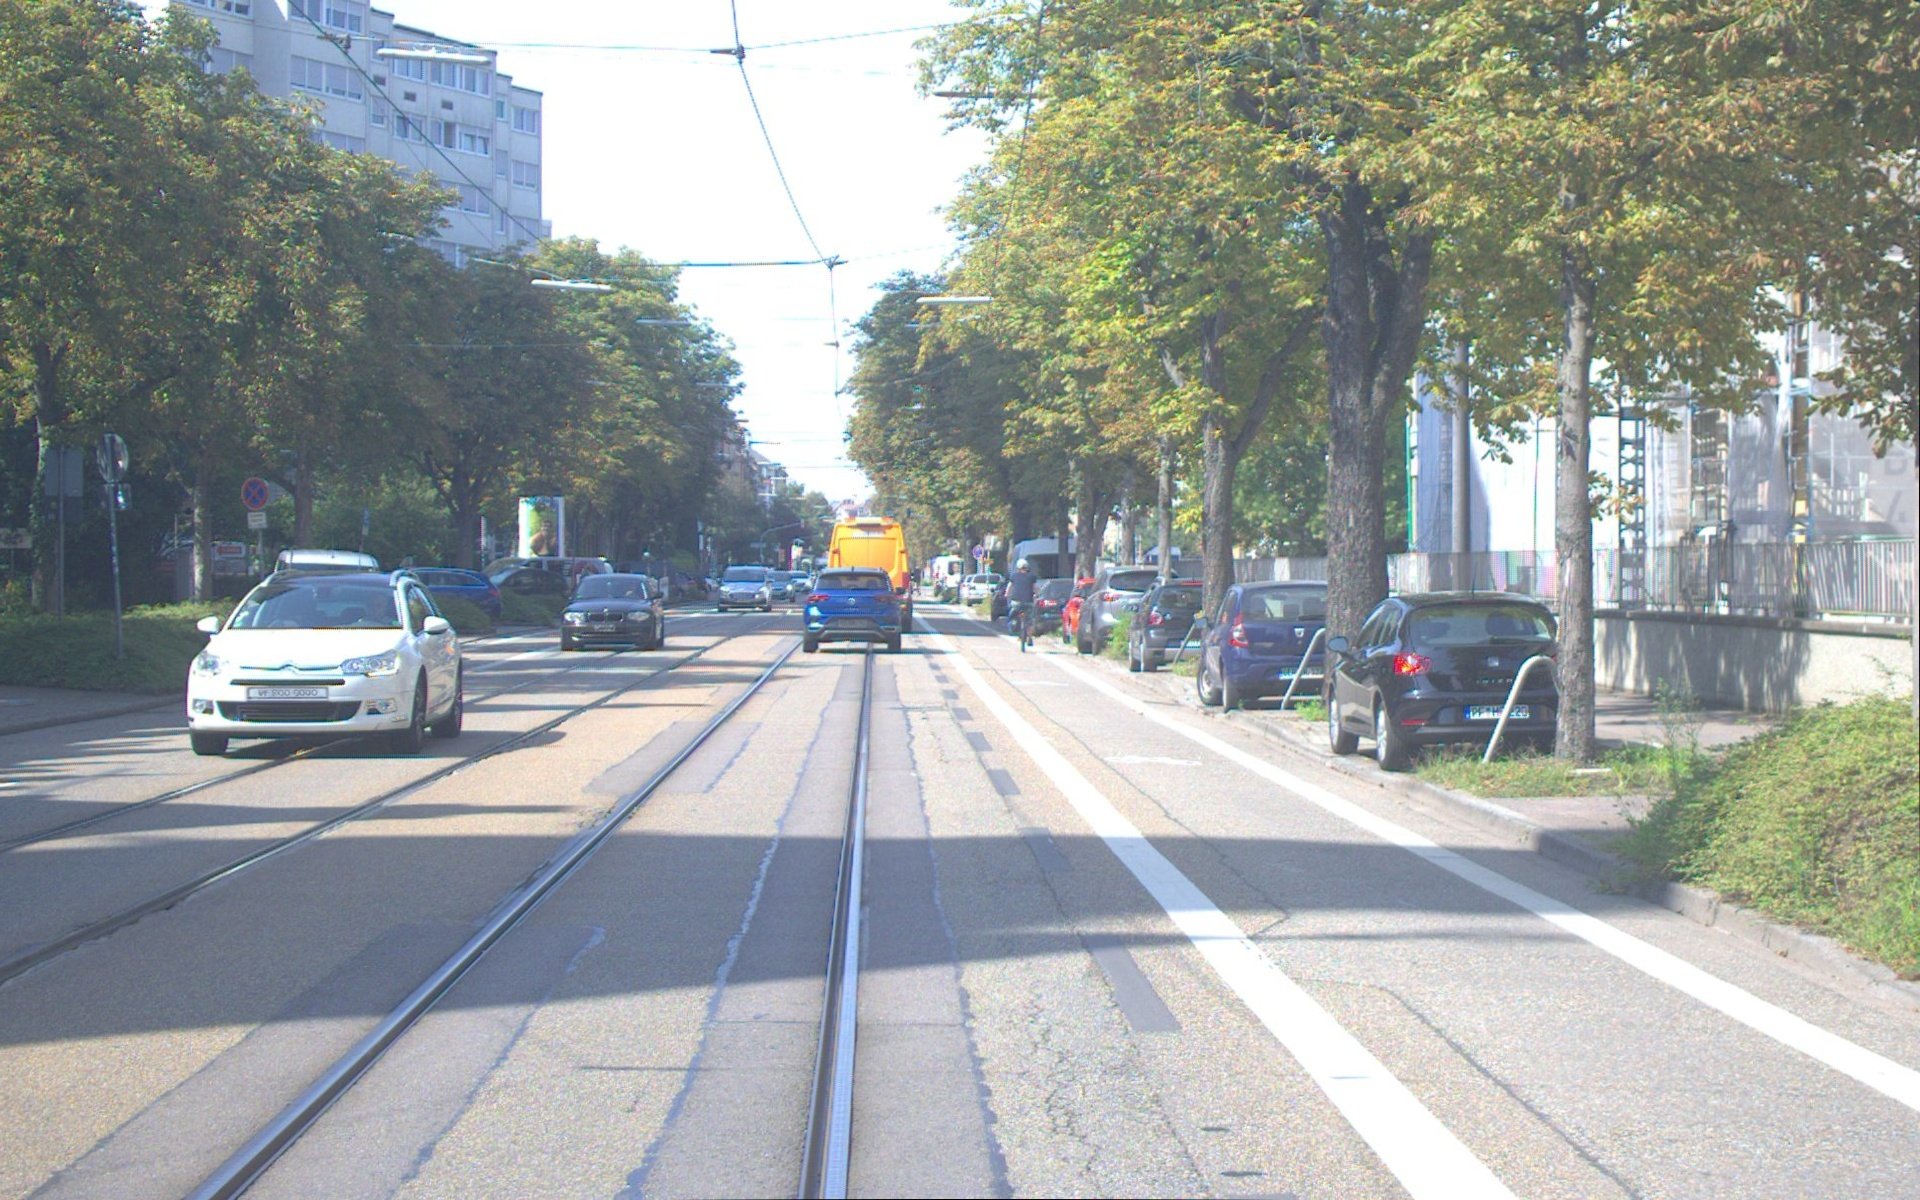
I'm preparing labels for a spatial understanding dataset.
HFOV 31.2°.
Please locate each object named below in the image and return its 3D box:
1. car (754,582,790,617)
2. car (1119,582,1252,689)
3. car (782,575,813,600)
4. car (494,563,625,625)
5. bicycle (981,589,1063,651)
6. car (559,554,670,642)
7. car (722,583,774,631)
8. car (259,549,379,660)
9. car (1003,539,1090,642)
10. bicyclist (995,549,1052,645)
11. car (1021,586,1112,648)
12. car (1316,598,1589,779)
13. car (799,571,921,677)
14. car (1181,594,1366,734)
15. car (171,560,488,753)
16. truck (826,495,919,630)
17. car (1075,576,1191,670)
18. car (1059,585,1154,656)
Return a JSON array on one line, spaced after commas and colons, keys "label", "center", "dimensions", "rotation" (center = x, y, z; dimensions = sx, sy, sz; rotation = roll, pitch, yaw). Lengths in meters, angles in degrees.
[{"label": "car", "center": [-8.818, -0.040, 161.459], "dimensions": [1.633, 1.579, 4.189], "rotation": [1, 0, -2]}, {"label": "car", "center": [3.499, 0.530, 53.940], "dimensions": [1.633, 1.579, 4.189], "rotation": [1, 0, -2]}, {"label": "car", "center": [-10.207, -0.803, 215.754], "dimensions": [1.898, 1.556, 4.123], "rotation": [1, 0, -3]}, {"label": "car", "center": [-13.210, -0.187, 113.532], "dimensions": [3.989, 2.007, 1.856], "rotation": [1, 0, -44]}, {"label": "bicycle", "center": [1.164, 0.359, 65.676], "dimensions": [1.401, 1.130, 4.000], "rotation": [0, 0, -1]}, {"label": "car", "center": [-6.441, -0.054, 64.377], "dimensions": [1.681, 1.566, 4.206], "rotation": [1, 0, -1]}, {"label": "car", "center": [-7.671, 0.248, 124.762], "dimensions": [1.780, 1.678, 4.347], "rotation": [1, 0, -2]}, {"label": "car", "center": [-10.840, 0.054, 57.944], "dimensions": [1.746, 1.790, 4.001], "rotation": [1, 0, -14]}, {"label": "car", "center": [2.358, -0.283, 95.134], "dimensions": [1.993, 2.746, 5.762], "rotation": [1, 0, -2]}, {"label": "bicyclist", "center": [1.205, -0.053, 65.647], "dimensions": [1.031, 1.806, 1.016], "rotation": [1, 0, -1]}, {"label": "car", "center": [2.597, 0.402, 84.547], "dimensions": [1.908, 1.427, 4.293], "rotation": [1, 0, -2]}, {"label": "car", "center": [4.111, 0.699, 29.296], "dimensions": [1.659, 1.403, 4.217], "rotation": [0, 0, -1]}, {"label": "car", "center": [-1.815, 0.403, 63.309], "dimensions": [2.135, 1.852, 5.568], "rotation": [0, 0, -1]}, {"label": "car", "center": [3.667, 0.718, 40.842], "dimensions": [1.743, 1.550, 4.217], "rotation": [0, 0, -1]}, {"label": "car", "center": [-5.262, 0.420, 29.305], "dimensions": [1.846, 1.486, 4.867], "rotation": [1, 0, -1]}, {"label": "truck", "center": [-2.090, -0.897, 82.950], "dimensions": [2.135, 3.114, 6.085], "rotation": [0, 0, -1]}, {"label": "car", "center": [3.190, 0.401, 64.031], "dimensions": [1.740, 1.662, 4.362], "rotation": [1, 0, -2]}, {"label": "car", "center": [3.144, 0.417, 74.413], "dimensions": [1.740, 1.457, 3.684], "rotation": [1, 0, -2]}]
